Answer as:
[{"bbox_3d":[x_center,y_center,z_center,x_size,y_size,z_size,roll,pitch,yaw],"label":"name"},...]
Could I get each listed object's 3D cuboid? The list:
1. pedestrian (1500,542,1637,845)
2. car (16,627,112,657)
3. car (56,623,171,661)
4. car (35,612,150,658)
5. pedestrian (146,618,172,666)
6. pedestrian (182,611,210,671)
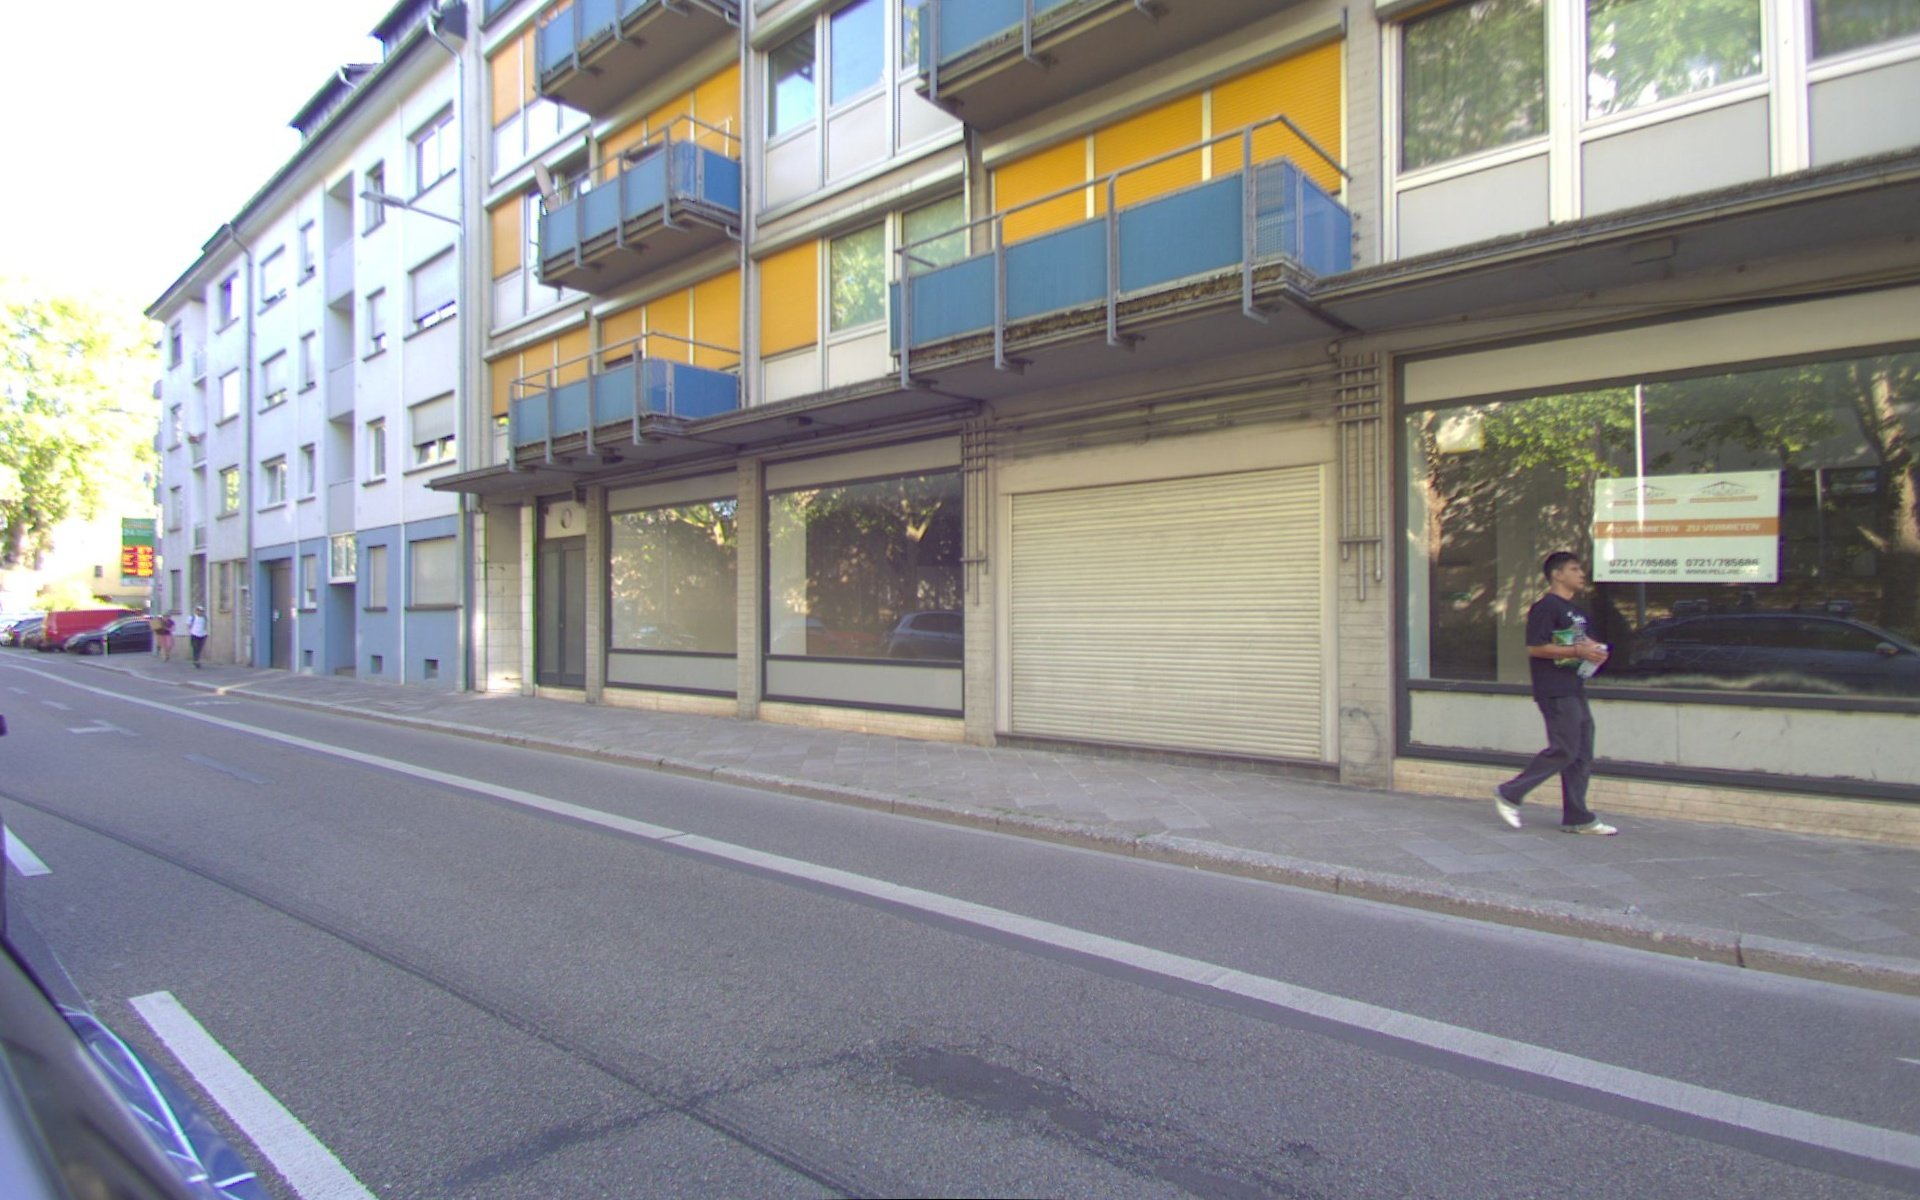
[{"bbox_3d":[3.770,0.543,6.269,0.621,1.754,0.528,0,-1,-41],"label":"pedestrian"},{"bbox_3d":[-42.957,2.003,48.564,1.294,1.258,3.283,-1,0,41],"label":"car"},{"bbox_3d":[-36.645,1.773,43.870,1.635,1.422,3.623,-1,0,41],"label":"car"},{"bbox_3d":[-40.582,1.587,47.387,1.635,1.937,3.878,-1,0,41],"label":"car"},{"bbox_3d":[-25.830,1.351,32.650,0.343,1.529,0.562,-2,0,41],"label":"pedestrian"},{"bbox_3d":[-22.465,1.204,29.769,0.343,1.739,0.562,-2,0,41],"label":"pedestrian"}]
